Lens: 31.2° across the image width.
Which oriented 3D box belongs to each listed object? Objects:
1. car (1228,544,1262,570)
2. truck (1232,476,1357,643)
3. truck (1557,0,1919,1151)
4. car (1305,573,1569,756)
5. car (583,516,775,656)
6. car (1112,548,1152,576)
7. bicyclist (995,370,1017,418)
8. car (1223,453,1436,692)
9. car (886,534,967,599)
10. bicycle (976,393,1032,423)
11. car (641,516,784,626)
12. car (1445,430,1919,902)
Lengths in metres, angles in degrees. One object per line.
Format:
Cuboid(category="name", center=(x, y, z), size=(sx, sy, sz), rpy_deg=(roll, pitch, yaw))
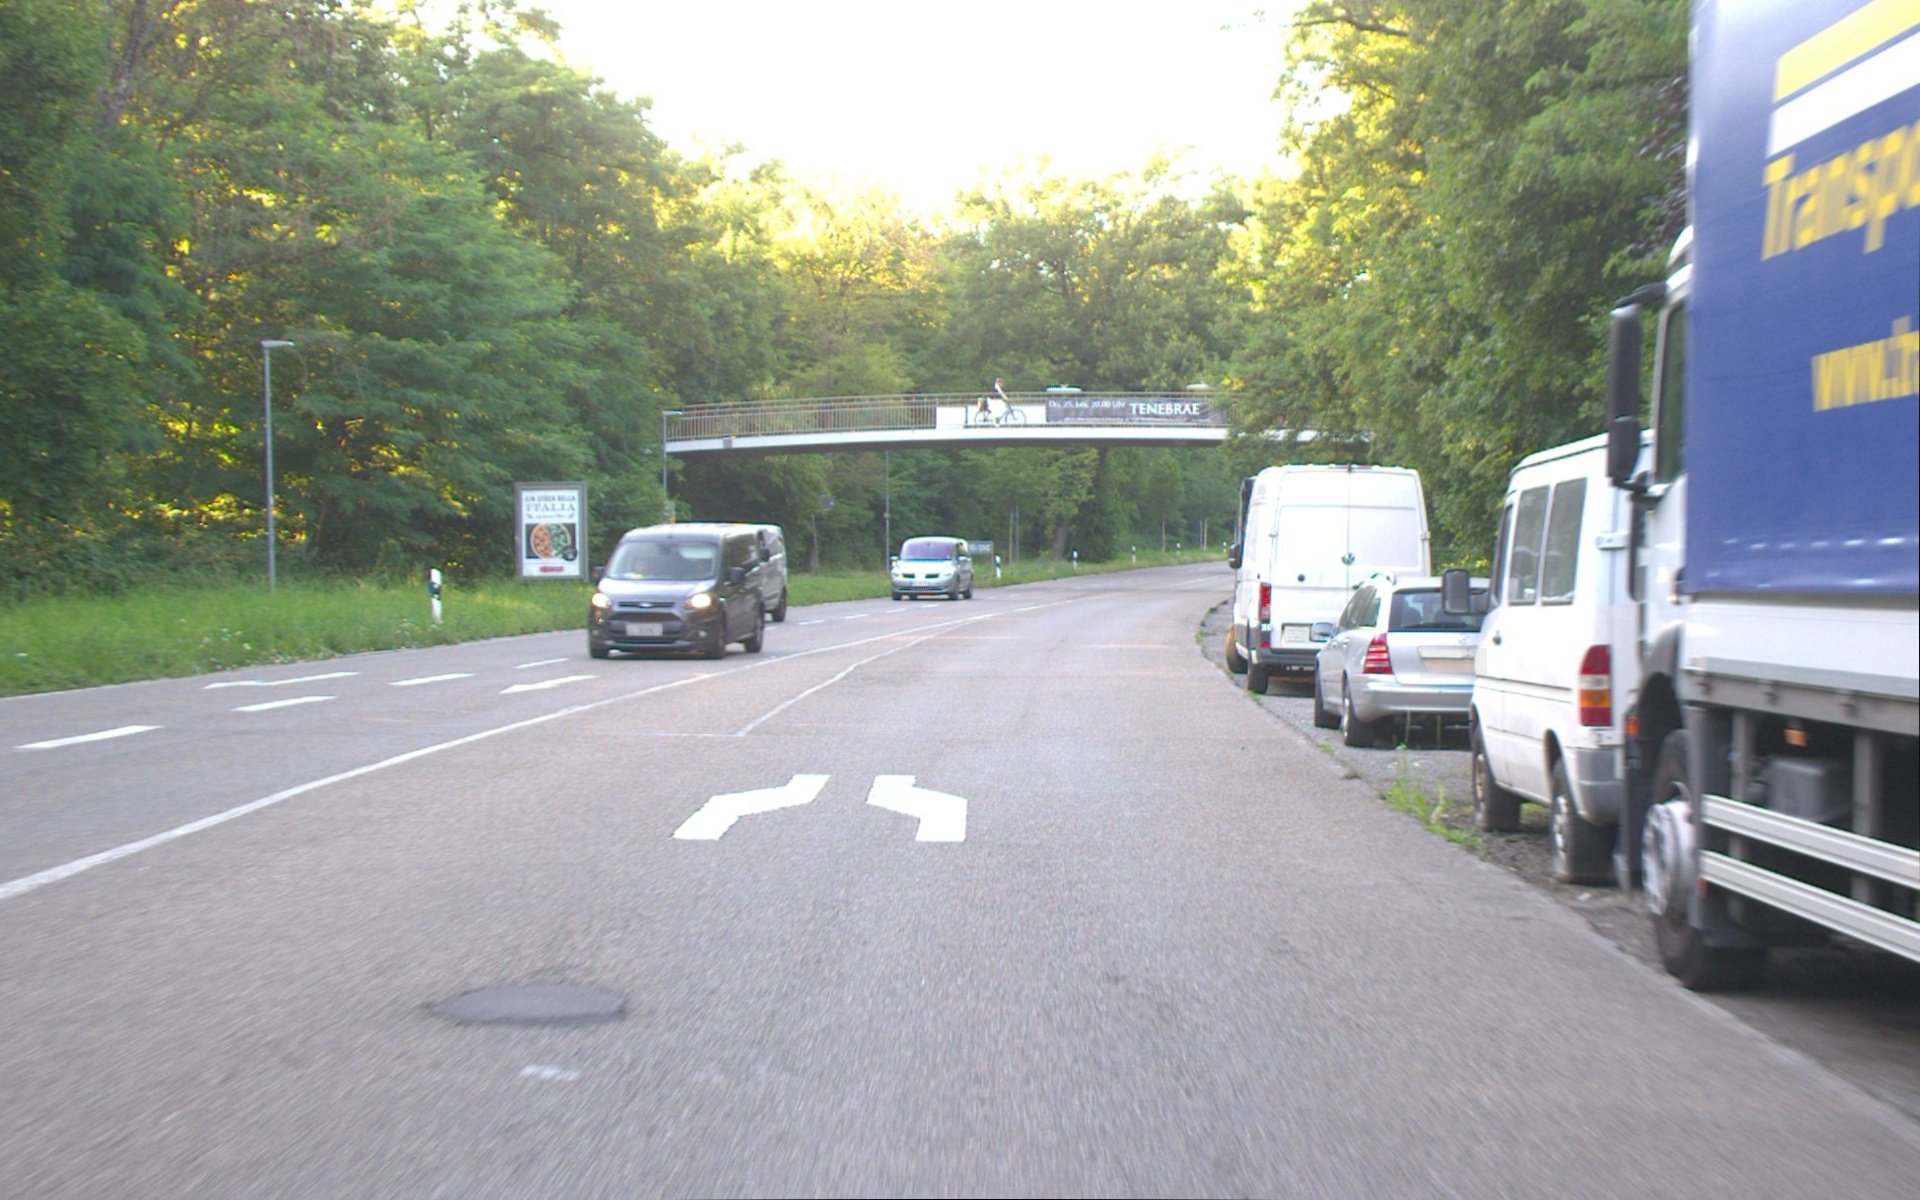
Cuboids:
Cuboid(category="car", center=(16.254, -2.440, 196.040), size=(1.892, 1.442, 4.109), rpy_deg=(0, 1, 5))
Cuboid(category="truck", center=(5.817, -0.714, 60.112), size=(1.994, 2.708, 6.614), rpy_deg=(2, 1, 5))
Cuboid(category="truck", center=(3.912, -0.536, 9.915), size=(2.657, 4.014, 9.722), rpy_deg=(1, 1, 0))
Cuboid(category="car", center=(4.027, 0.497, 29.610), size=(1.683, 1.368, 4.270), rpy_deg=(2, 1, 1))
Cuboid(category="car", center=(-3.826, -0.211, 47.539), size=(1.844, 1.794, 4.747), rpy_deg=(1, 1, 5))
Cuboid(category="car", center=(8.939, -1.975, 178.605), size=(1.892, 1.442, 4.109), rpy_deg=(0, 1, 5))
Cuboid(category="bicyclist", center=(1.544, -6.934, 115.707), size=(0.665, 1.576, 0.547), rpy_deg=(1, 1, 7))
Cuboid(category="car", center=(4.219, -0.343, 40.155), size=(1.964, 2.503, 6.015), rpy_deg=(2, 1, 2))
Cuboid(category="car", center=(-0.912, -0.935, 95.488), size=(1.844, 1.729, 3.999), rpy_deg=(1, 1, 5))
Cuboid(category="bicycle", center=(1.483, -6.466, 115.714), size=(1.845, 0.946, 0.550), rpy_deg=(1, 1, 8))
Cuboid(category="car", center=(-4.656, -0.570, 65.162), size=(1.994, 1.919, 4.380), rpy_deg=(3, 1, 4))
Cuboid(category="car", center=(4.012, 0.285, 18.842), size=(1.993, 2.182, 4.928), rpy_deg=(2, 1, 1))
